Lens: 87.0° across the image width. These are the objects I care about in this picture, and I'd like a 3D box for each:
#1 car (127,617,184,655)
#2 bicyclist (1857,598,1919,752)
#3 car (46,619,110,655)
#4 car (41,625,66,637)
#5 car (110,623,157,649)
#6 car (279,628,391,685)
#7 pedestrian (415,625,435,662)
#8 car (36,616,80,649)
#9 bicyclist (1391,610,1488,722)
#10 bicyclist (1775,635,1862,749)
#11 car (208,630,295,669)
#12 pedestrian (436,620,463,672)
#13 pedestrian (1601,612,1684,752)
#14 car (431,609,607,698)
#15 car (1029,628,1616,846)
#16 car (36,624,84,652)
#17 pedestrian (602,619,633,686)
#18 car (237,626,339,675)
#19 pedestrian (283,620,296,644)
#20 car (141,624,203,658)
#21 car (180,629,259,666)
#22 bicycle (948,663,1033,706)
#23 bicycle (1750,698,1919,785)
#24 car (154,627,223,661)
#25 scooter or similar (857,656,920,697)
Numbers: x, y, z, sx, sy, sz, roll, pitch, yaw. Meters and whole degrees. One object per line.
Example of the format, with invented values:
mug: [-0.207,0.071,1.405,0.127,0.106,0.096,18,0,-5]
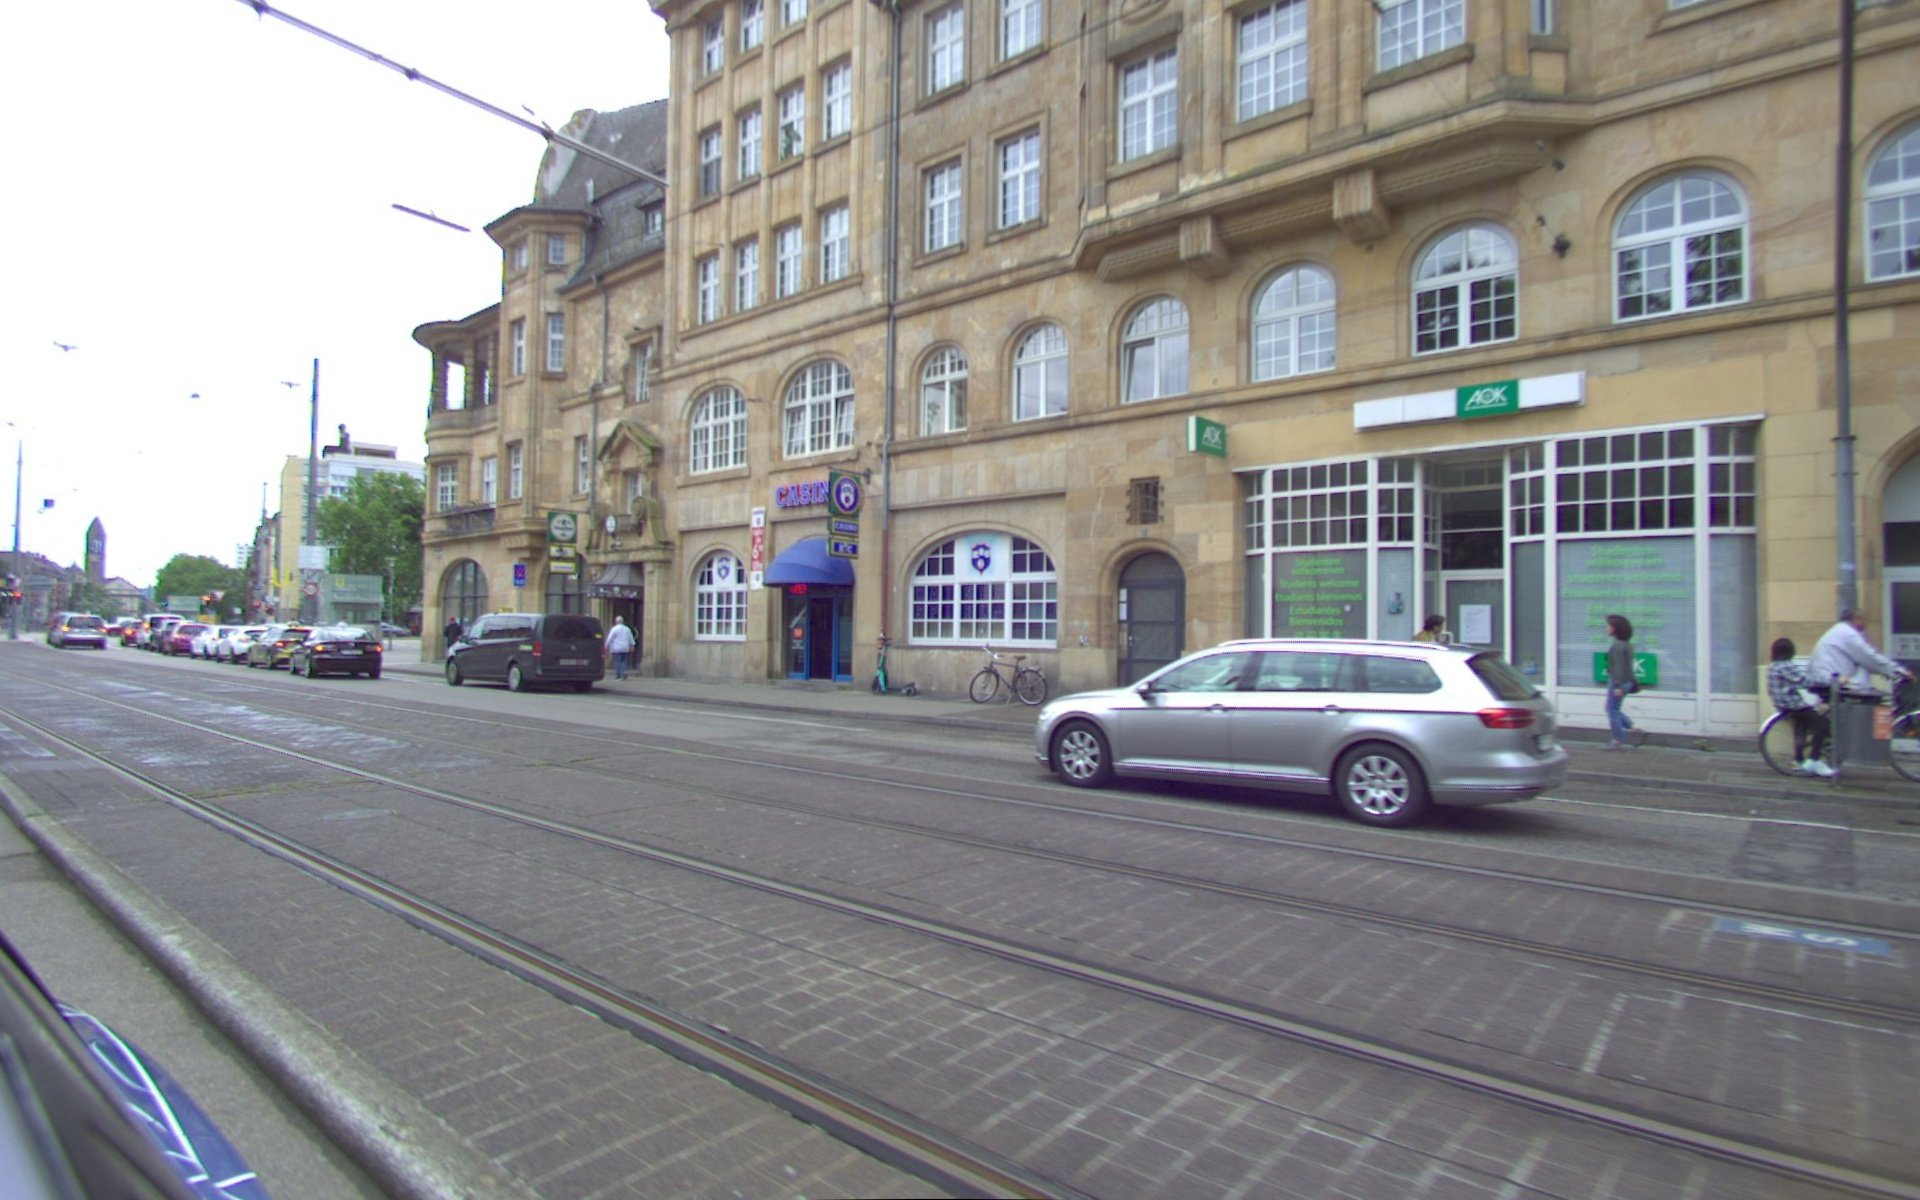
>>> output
car: [-43.189,1.936,54.296,1.841,1.931,5.104,2,-3,-44]
bicyclist: [9.556,0.734,10.013,0.971,1.499,0.604,-1,-3,41]
car: [-44.670,1.866,51.213,4.908,1.719,1.843,-1,-4,42]
car: [-107.177,3.684,119.650,1.968,1.453,4.007,2,-3,-39]
car: [-47.867,2.084,58.562,4.002,1.453,1.669,-1,-3,45]
car: [-17.801,1.588,28.713,1.805,1.444,4.672,5,-5,-42]
pedestrian: [-25.050,2.033,47.385,0.628,1.732,0.529,0,-2,20]
car: [-53.263,1.905,59.737,4.388,1.915,1.669,-1,-3,45]
bicyclist: [5.986,0.801,12.645,0.971,1.334,0.604,-1,-3,41]
bicyclist: [8.929,0.931,10.540,0.659,1.126,0.604,-1,-3,41]
car: [-26.609,1.814,37.961,4.259,1.390,1.905,-2,-3,44]
pedestrian: [-17.111,1.539,33.939,0.764,1.741,0.490,-1,-3,38]
pedestrian: [8.283,0.970,12.280,0.741,1.625,0.678,-1,-3,41]
car: [-10.970,1.299,24.995,5.094,1.992,1.879,-1,-5,41]
car: [2.973,0.988,9.004,4.612,1.460,1.741,-1,-3,41]
car: [-49.109,2.078,55.188,4.002,1.453,1.669,-1,-3,45]
pedestrian: [-9.144,1.394,27.027,0.522,1.741,0.592,-1,-3,37]
car: [-22.250,1.658,33.461,4.429,1.522,1.877,-2,-4,44]
pedestrian: [-49.511,2.377,74.766,0.592,1.741,0.915,1,-2,-24]
car: [-38.446,1.996,49.330,1.841,1.546,4.305,5,-5,-44]
car: [-30.685,1.936,41.876,4.361,1.390,1.728,-1,-5,42]
bicycle: [0.579,1.643,19.913,1.705,0.751,0.575,-1,-2,41]
bicycle: [9.357,1.426,10.136,2.249,0.751,0.575,-1,-3,41]
car: [-34.775,1.980,45.582,3.896,1.410,1.842,-2,-5,44]
scooter or similar: [-1.532,1.624,21.621,1.345,0.809,0.575,-1,-2,41]
